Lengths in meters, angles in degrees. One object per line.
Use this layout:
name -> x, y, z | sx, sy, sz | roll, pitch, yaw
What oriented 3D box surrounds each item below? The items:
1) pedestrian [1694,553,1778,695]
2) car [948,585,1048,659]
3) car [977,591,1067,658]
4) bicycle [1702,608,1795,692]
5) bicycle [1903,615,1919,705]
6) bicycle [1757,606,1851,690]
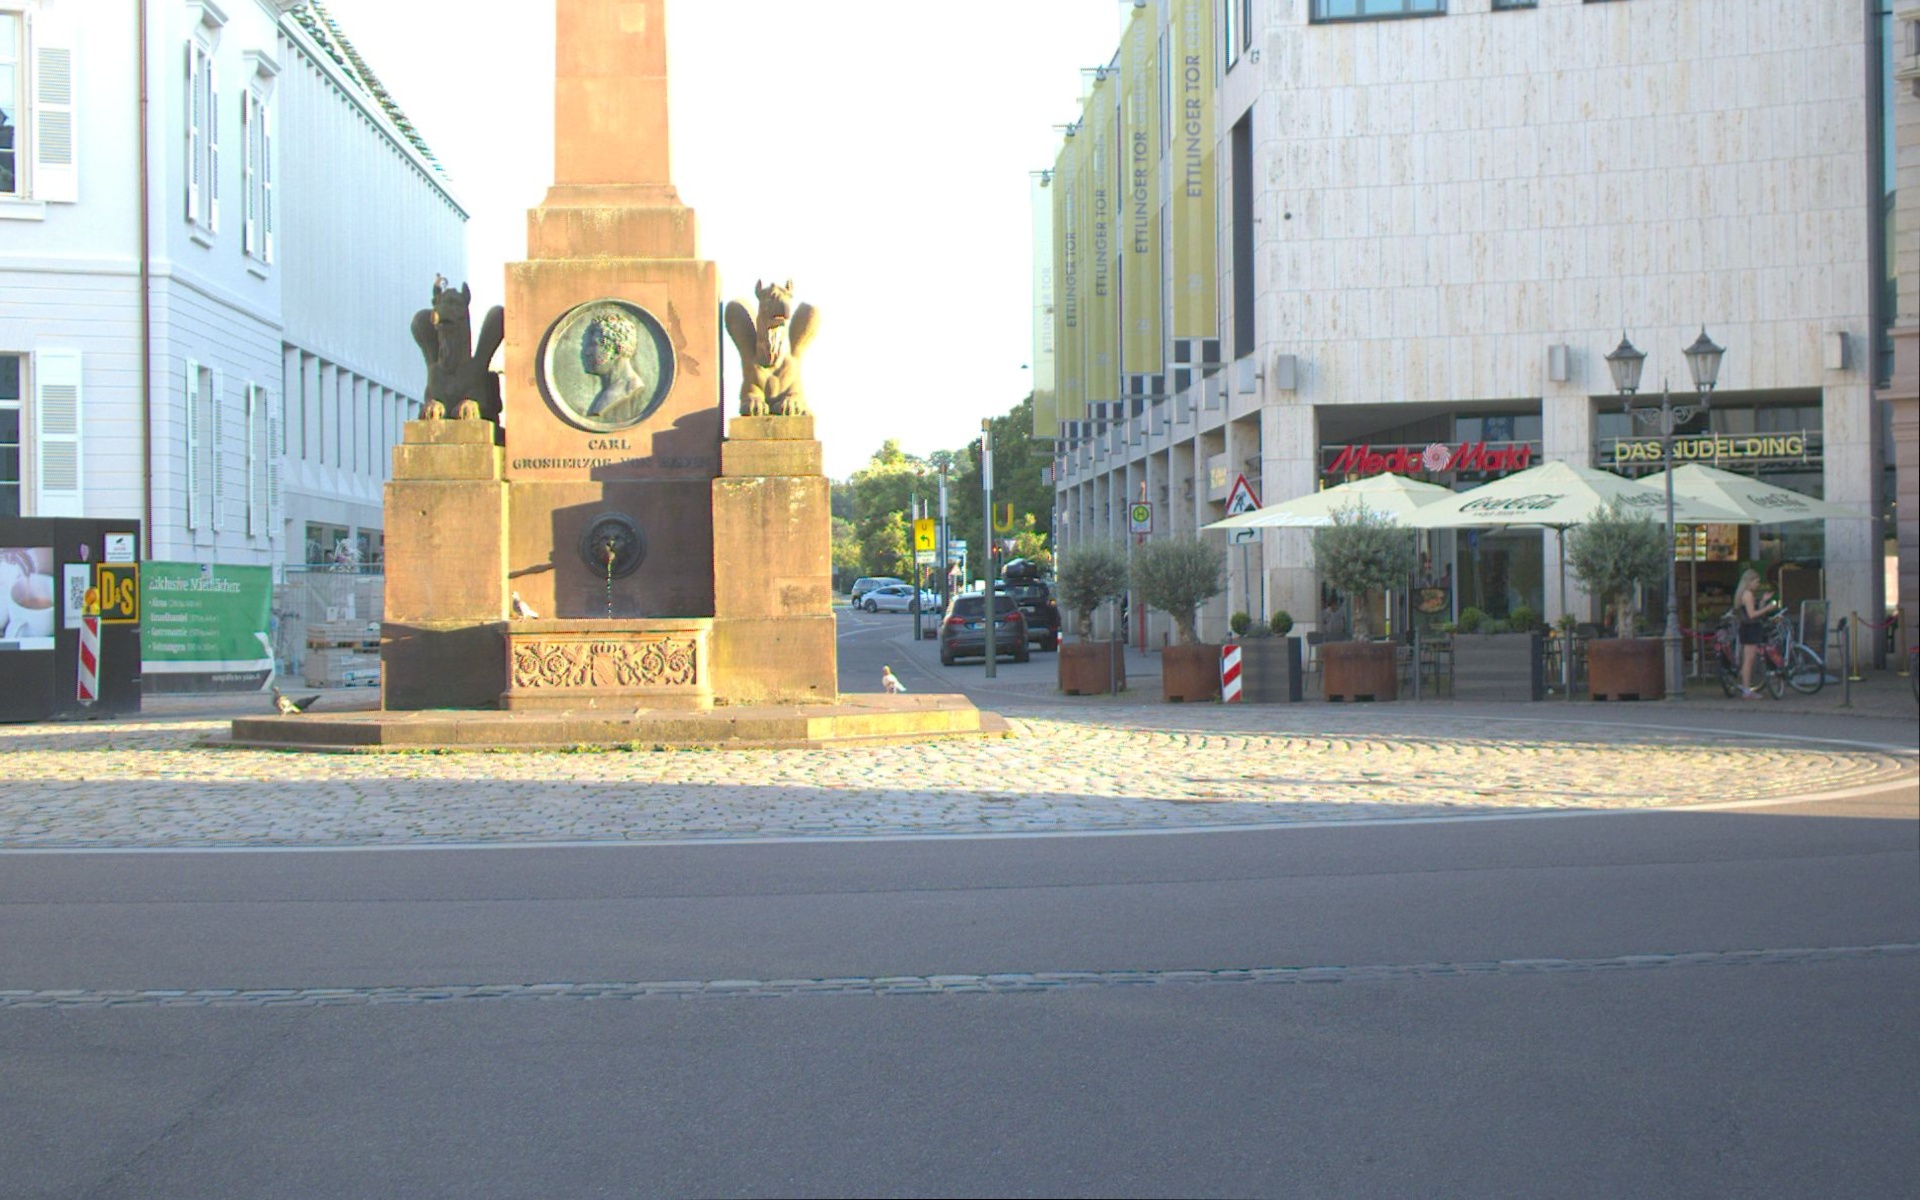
pedestrian -> 9.594, 0.288, 42.525 | 0.905, 1.722, 0.849 | -1, 0, 7
car -> 0.754, 0.427, 71.433 | 1.993, 1.459, 4.000 | -1, 0, 0
car -> 1.414, 0.549, 79.924 | 1.993, 1.459, 4.000 | -1, 0, 0
bicycle -> 10.085, 0.631, 43.932 | 0.600, 1.028, 1.642 | 0, 0, 34
bicycle -> 11.561, 0.681, 40.240 | 0.507, 1.028, 1.642 | 0, 0, 34
bicycle -> 10.711, 0.600, 43.595 | 0.620, 1.028, 1.642 | 0, 0, 34
